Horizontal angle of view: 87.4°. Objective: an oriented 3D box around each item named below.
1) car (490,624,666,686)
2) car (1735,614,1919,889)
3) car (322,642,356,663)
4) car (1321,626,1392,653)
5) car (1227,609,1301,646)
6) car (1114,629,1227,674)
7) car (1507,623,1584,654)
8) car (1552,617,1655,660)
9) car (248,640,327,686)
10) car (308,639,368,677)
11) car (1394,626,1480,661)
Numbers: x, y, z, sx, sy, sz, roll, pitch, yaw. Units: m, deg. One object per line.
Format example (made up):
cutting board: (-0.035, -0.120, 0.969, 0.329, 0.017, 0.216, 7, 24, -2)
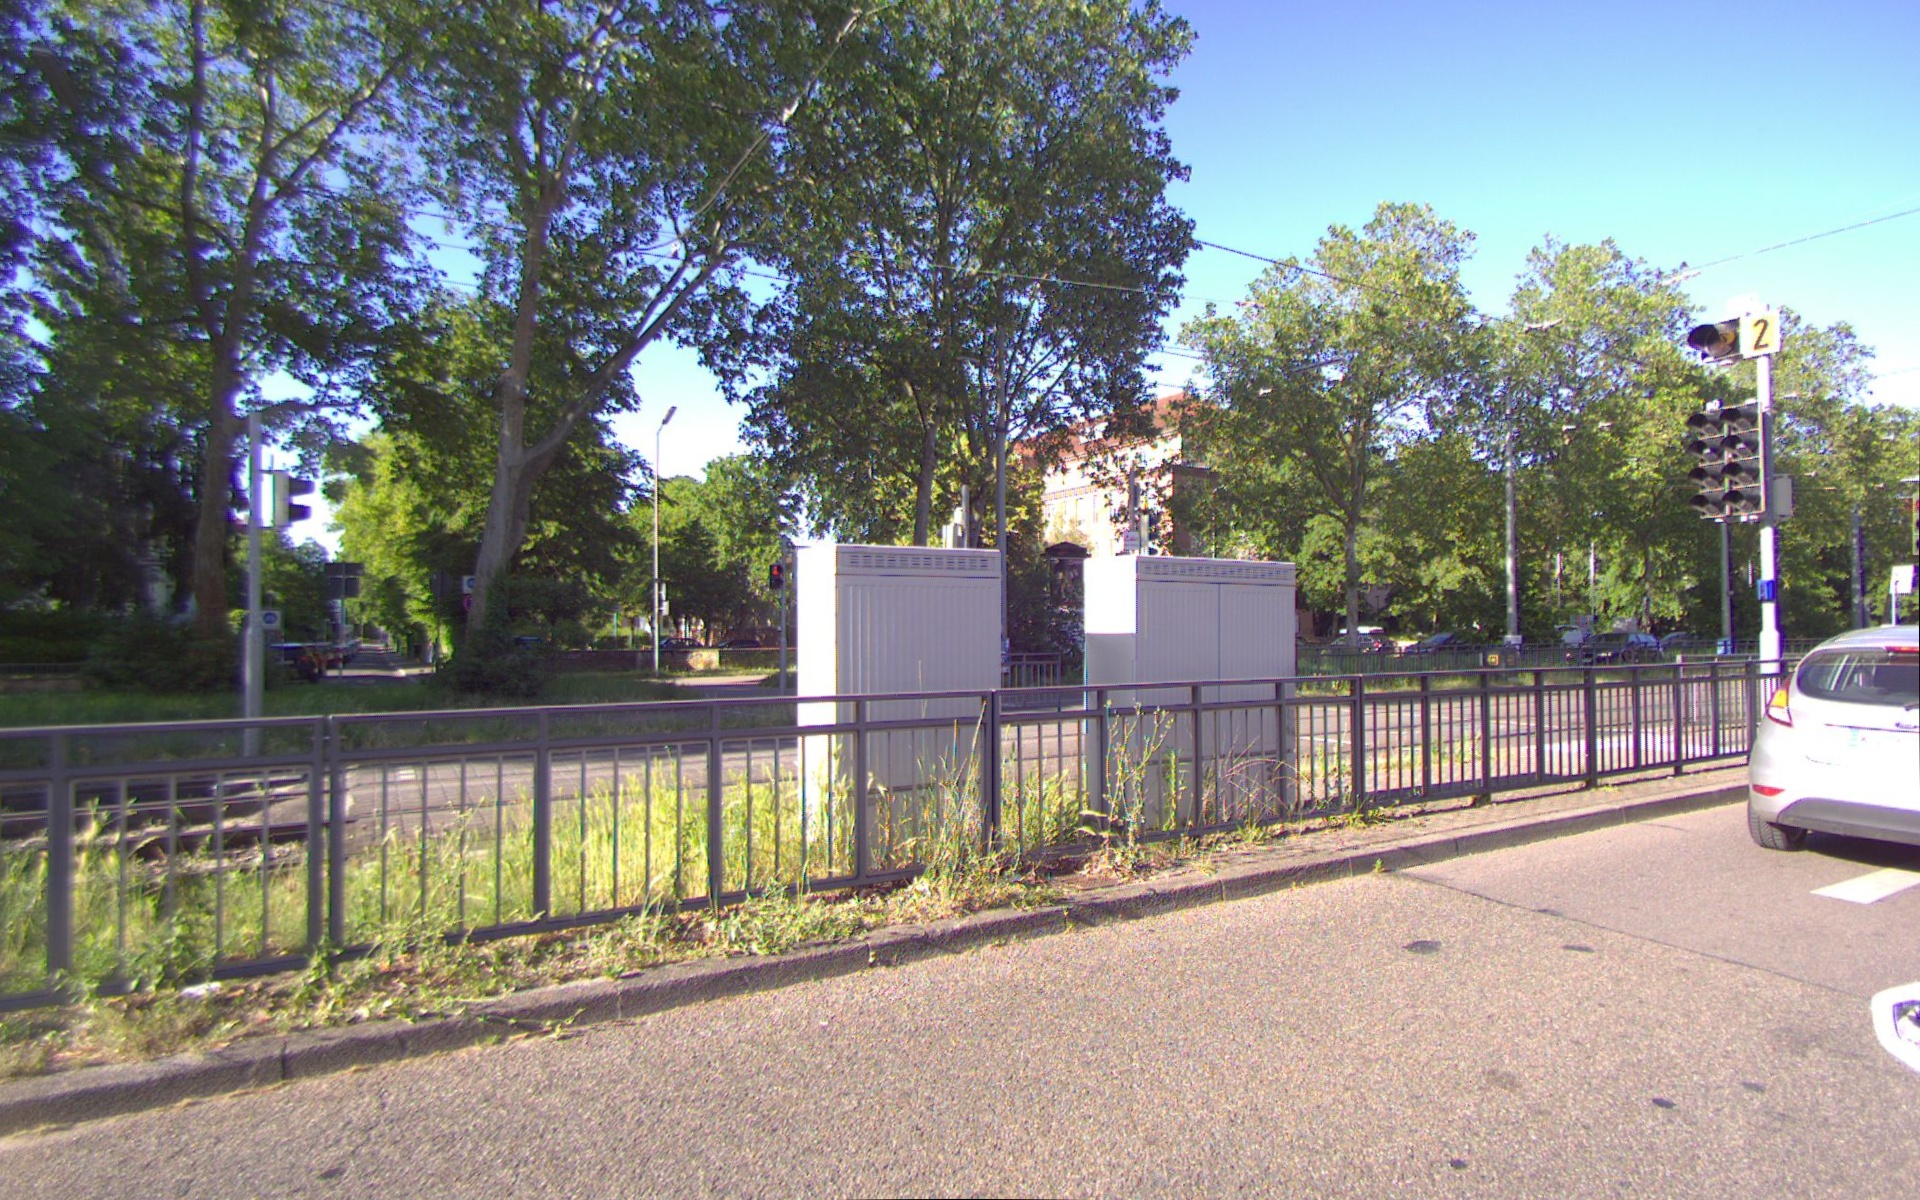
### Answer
car: (-10.020, 1.386, 26.428, 4.098, 1.529, 1.660, 1, -1, -32)
car: (6.756, 0.841, 6.558, 3.850, 1.487, 1.599, 1, -1, -35)
car: (-36.425, 3.084, 58.956, 1.513, 1.134, 3.102, 0, -2, -29)
car: (23.200, 2.296, 58.908, 1.375, 1.514, 3.974, 0, -1, -26)
car: (17.611, 1.575, 58.209, 3.953, 2.040, 1.984, 1, -1, -30)
car: (7.817, 1.858, 37.162, 4.098, 1.529, 1.661, 0, -1, -32)
car: (29.739, 1.930, 50.998, 4.098, 1.529, 1.660, 1, -1, -32)
car: (24.067, 1.389, 37.530, 4.297, 1.518, 1.674, 1, -1, -33)
car: (-23.688, 2.164, 35.528, 1.976, 1.437, 3.970, 0, -1, -29)
car: (-26.700, 2.446, 43.202, 1.976, 1.437, 3.970, 0, -1, -29)
car: (22.062, 1.985, 46.442, 4.098, 1.529, 1.661, 1, -2, -32)
